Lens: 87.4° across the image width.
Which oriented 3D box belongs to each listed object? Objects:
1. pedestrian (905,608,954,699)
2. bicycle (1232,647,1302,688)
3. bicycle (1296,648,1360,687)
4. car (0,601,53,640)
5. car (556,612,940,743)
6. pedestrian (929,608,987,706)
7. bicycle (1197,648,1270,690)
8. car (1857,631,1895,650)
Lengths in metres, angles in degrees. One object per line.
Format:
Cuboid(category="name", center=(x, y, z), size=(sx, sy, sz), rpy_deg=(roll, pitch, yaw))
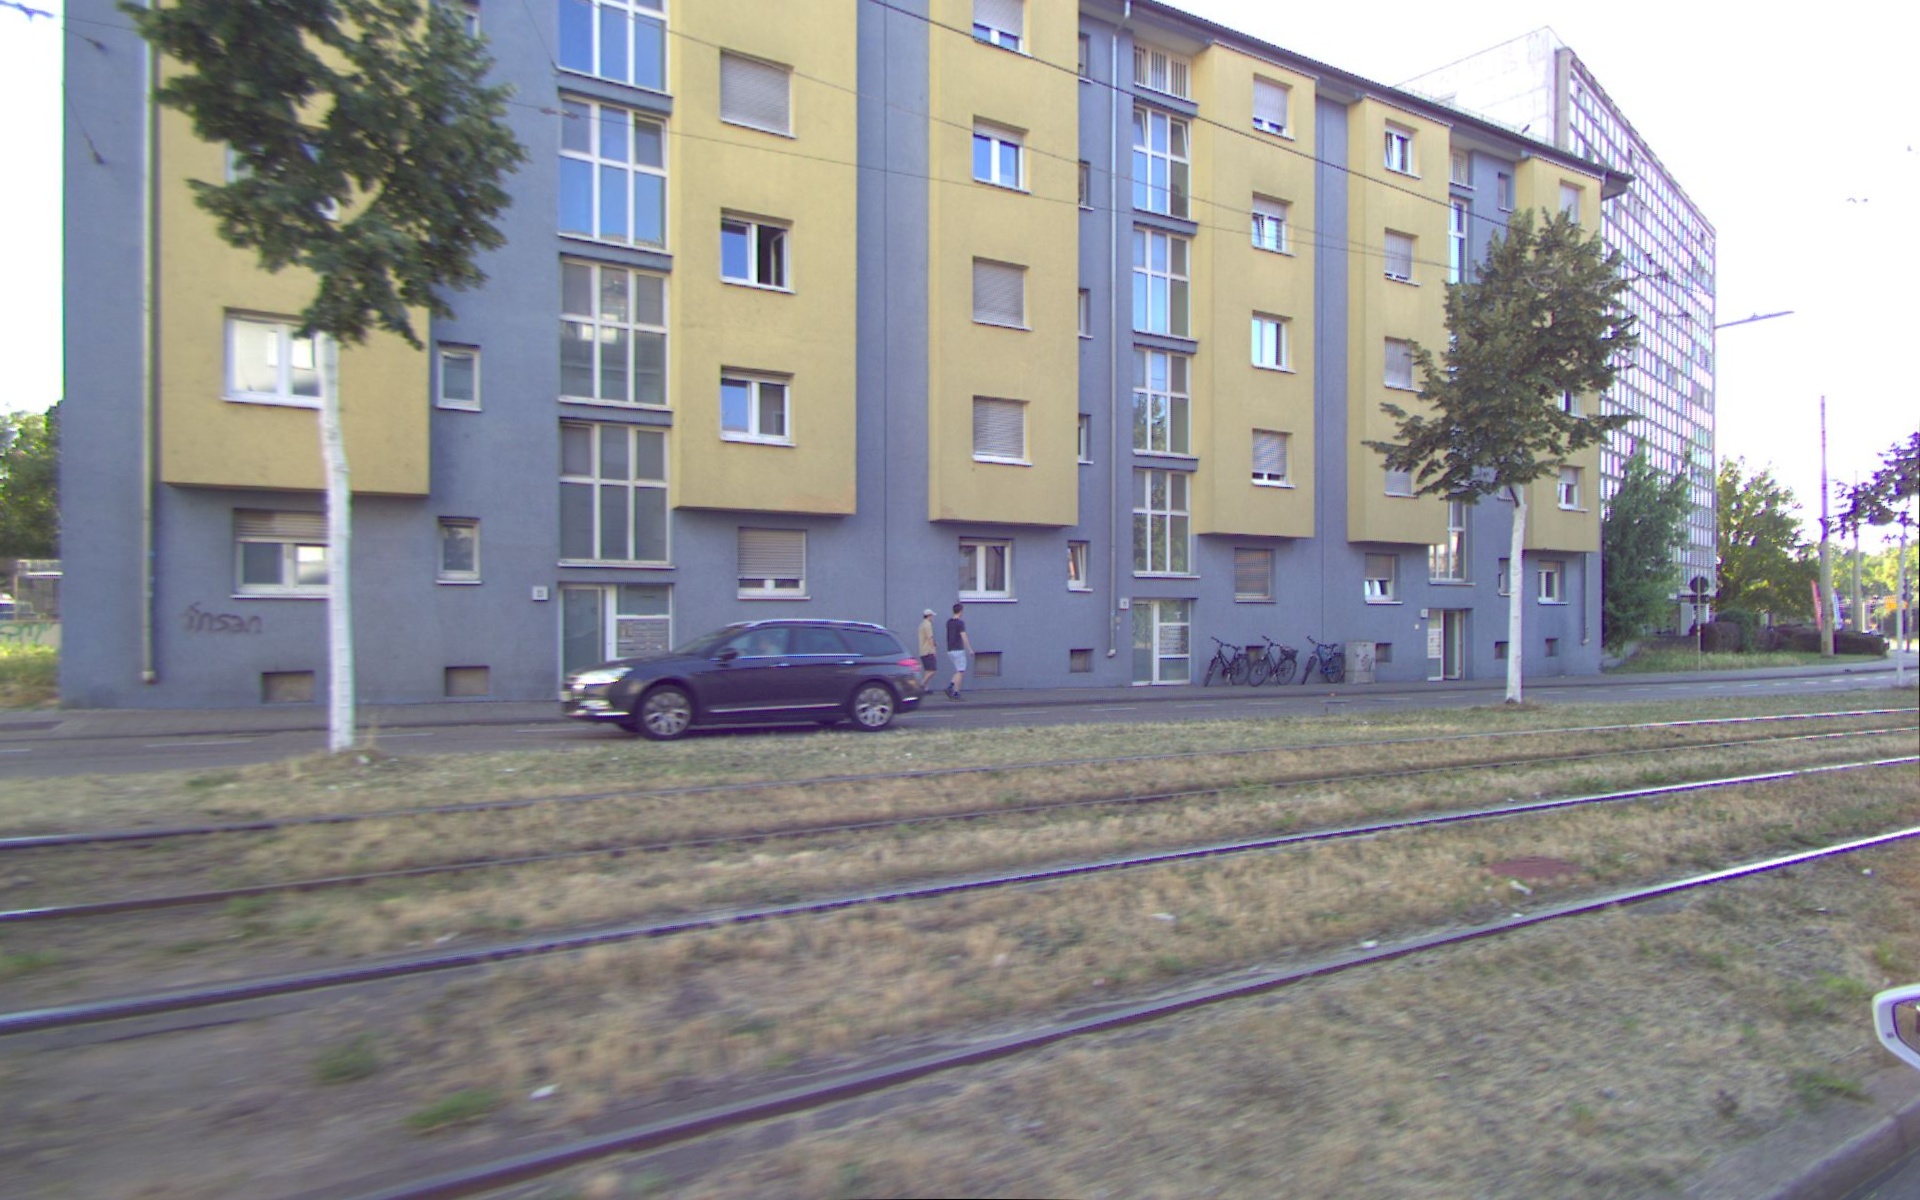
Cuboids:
Cuboid(category="pedestrian", center=(-0.606, 1.039, 19.814), size=(0.698, 1.717, 0.613), rpy_deg=(0, 4, -30))
Cuboid(category="bicycle", center=(7.554, 1.653, 24.687), size=(1.888, 0.937, 0.425), rpy_deg=(1, 2, -29))
Cuboid(category="bicycle", center=(9.439, 1.718, 25.728), size=(1.888, 0.972, 0.425), rpy_deg=(1, -1, -29))
Cuboid(category="car", center=(-50.675, 1.080, 53.543), size=(1.934, 2.004, 5.672), rpy_deg=(1, -1, -26))
Cuboid(category="car", center=(-2.746, 0.995, 13.456), size=(4.741, 1.488, 1.785), rpy_deg=(2, -4, -31))
Cuboid(category="pedestrian", center=(-0.038, 1.073, 19.145), size=(0.875, 1.797, 0.590), rpy_deg=(0, 3, -30))
Cuboid(category="bicycle", center=(6.530, 1.636, 23.940), size=(1.888, 0.937, 0.425), rpy_deg=(1, 2, -29))
Cuboid(category="car", center=(75.728, 3.290, 83.067), size=(1.752, 1.501, 4.385), rpy_deg=(0, -1, 35))
